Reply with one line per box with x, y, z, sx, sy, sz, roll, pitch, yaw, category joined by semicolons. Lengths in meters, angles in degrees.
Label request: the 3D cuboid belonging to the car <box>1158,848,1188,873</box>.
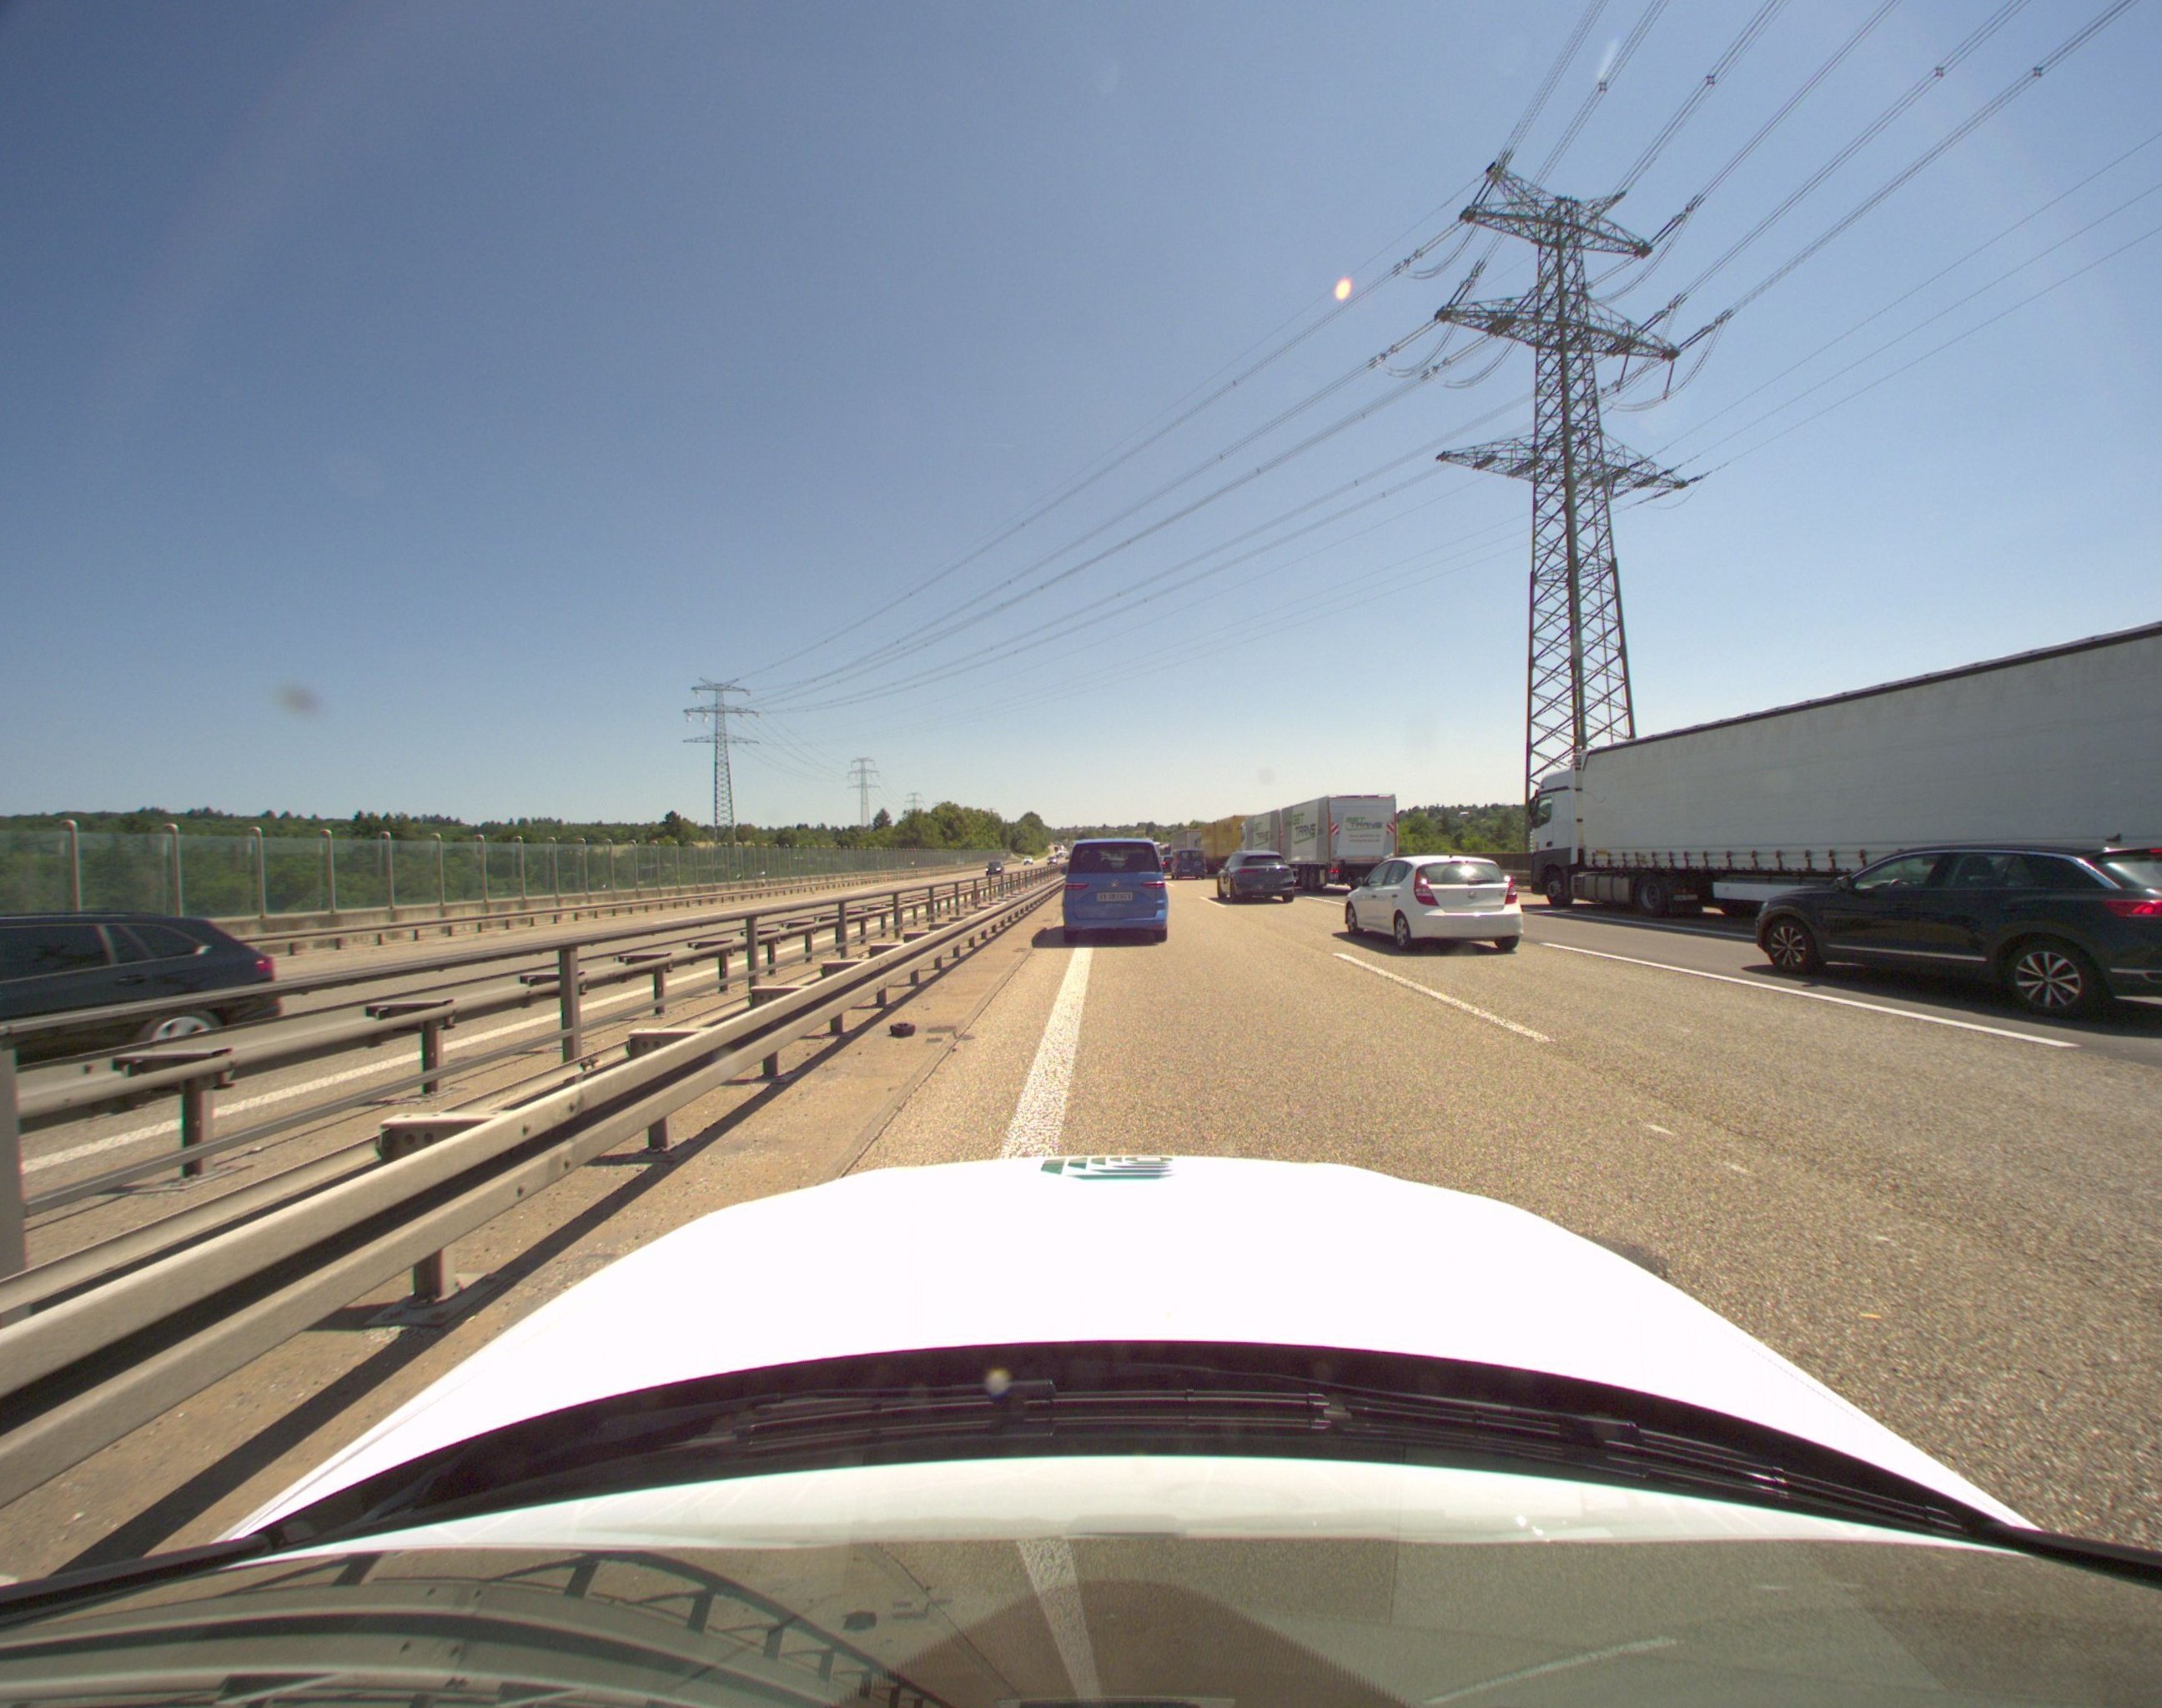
7.168;0.509;63.927;1.986;1.816;4.001;-1;0;2;car

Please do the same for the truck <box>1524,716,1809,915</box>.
13.889;-0.783;20.078;2.683;4.142;6.161;0;-1;2;truck

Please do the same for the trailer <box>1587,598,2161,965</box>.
13.693;-0.812;13.413;2.704;4.142;13.429;-1;0;2;trailer

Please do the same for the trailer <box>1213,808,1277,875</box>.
11.190;-0.774;56.607;2.854;4.239;9.014;0;-1;2;trailer

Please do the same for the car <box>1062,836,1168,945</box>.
0.650;0.643;16.003;1.813;1.857;4.076;0;0;2;car

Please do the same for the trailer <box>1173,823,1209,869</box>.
11.528;-0.813;86.148;2.627;4.516;11.305;0;0;2;trailer

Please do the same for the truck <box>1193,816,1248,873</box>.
11.227;-0.659;66.660;2.826;4.243;11.013;-1;0;1;truck

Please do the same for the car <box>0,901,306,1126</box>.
-8.261;1.181;5.534;1.761;1.419;4.268;-3;0;2;car

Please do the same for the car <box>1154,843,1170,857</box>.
12.103;-0.573;121.829;1.986;2.013;4.463;-2;0;2;car

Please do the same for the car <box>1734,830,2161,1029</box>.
9.121;0.581;8.293;1.729;1.527;4.108;-1;0;2;car

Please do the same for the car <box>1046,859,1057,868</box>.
-5.584;1.737;153.718;1.799;1.627;4.479;-1;0;1;car

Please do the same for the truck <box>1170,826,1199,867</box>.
11.750;-0.841;93.277;2.657;4.484;6.852;0;-1;2;truck

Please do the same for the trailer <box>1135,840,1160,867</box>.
7.874;0.001;97.432;2.560;2.990;10.667;0;-1;2;trailer

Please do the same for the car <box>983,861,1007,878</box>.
-9.497;1.679;90.176;1.987;1.672;4.186;-4;0;1;car

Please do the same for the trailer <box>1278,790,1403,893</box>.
10.383;-0.451;33.569;2.688;3.700;8.016;-1;0;1;trailer

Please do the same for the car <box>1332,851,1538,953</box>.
5.858;0.713;14.107;1.782;1.455;4.294;-1;0;1;car

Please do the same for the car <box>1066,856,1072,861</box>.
-3.558;1.360;239.810;1.592;1.318;4.342;-3;0;1;car

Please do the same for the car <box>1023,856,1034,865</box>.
-11.786;1.389;183.709;1.986;1.885;5.257;1;0;1;car

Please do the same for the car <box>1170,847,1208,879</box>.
6.993;0.559;52.970;1.955;1.993;4.294;-1;0;1;car

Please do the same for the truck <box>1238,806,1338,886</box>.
10.601;-0.365;43.077;2.647;3.648;11.013;-1;0;1;truck

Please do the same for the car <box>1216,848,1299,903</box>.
5.839;0.676;27.502;1.955;1.644;4.294;-1;0;1;car

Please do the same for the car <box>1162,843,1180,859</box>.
11.507;-0.384;104.036;1.986;2.014;4.001;0;-1;2;car
